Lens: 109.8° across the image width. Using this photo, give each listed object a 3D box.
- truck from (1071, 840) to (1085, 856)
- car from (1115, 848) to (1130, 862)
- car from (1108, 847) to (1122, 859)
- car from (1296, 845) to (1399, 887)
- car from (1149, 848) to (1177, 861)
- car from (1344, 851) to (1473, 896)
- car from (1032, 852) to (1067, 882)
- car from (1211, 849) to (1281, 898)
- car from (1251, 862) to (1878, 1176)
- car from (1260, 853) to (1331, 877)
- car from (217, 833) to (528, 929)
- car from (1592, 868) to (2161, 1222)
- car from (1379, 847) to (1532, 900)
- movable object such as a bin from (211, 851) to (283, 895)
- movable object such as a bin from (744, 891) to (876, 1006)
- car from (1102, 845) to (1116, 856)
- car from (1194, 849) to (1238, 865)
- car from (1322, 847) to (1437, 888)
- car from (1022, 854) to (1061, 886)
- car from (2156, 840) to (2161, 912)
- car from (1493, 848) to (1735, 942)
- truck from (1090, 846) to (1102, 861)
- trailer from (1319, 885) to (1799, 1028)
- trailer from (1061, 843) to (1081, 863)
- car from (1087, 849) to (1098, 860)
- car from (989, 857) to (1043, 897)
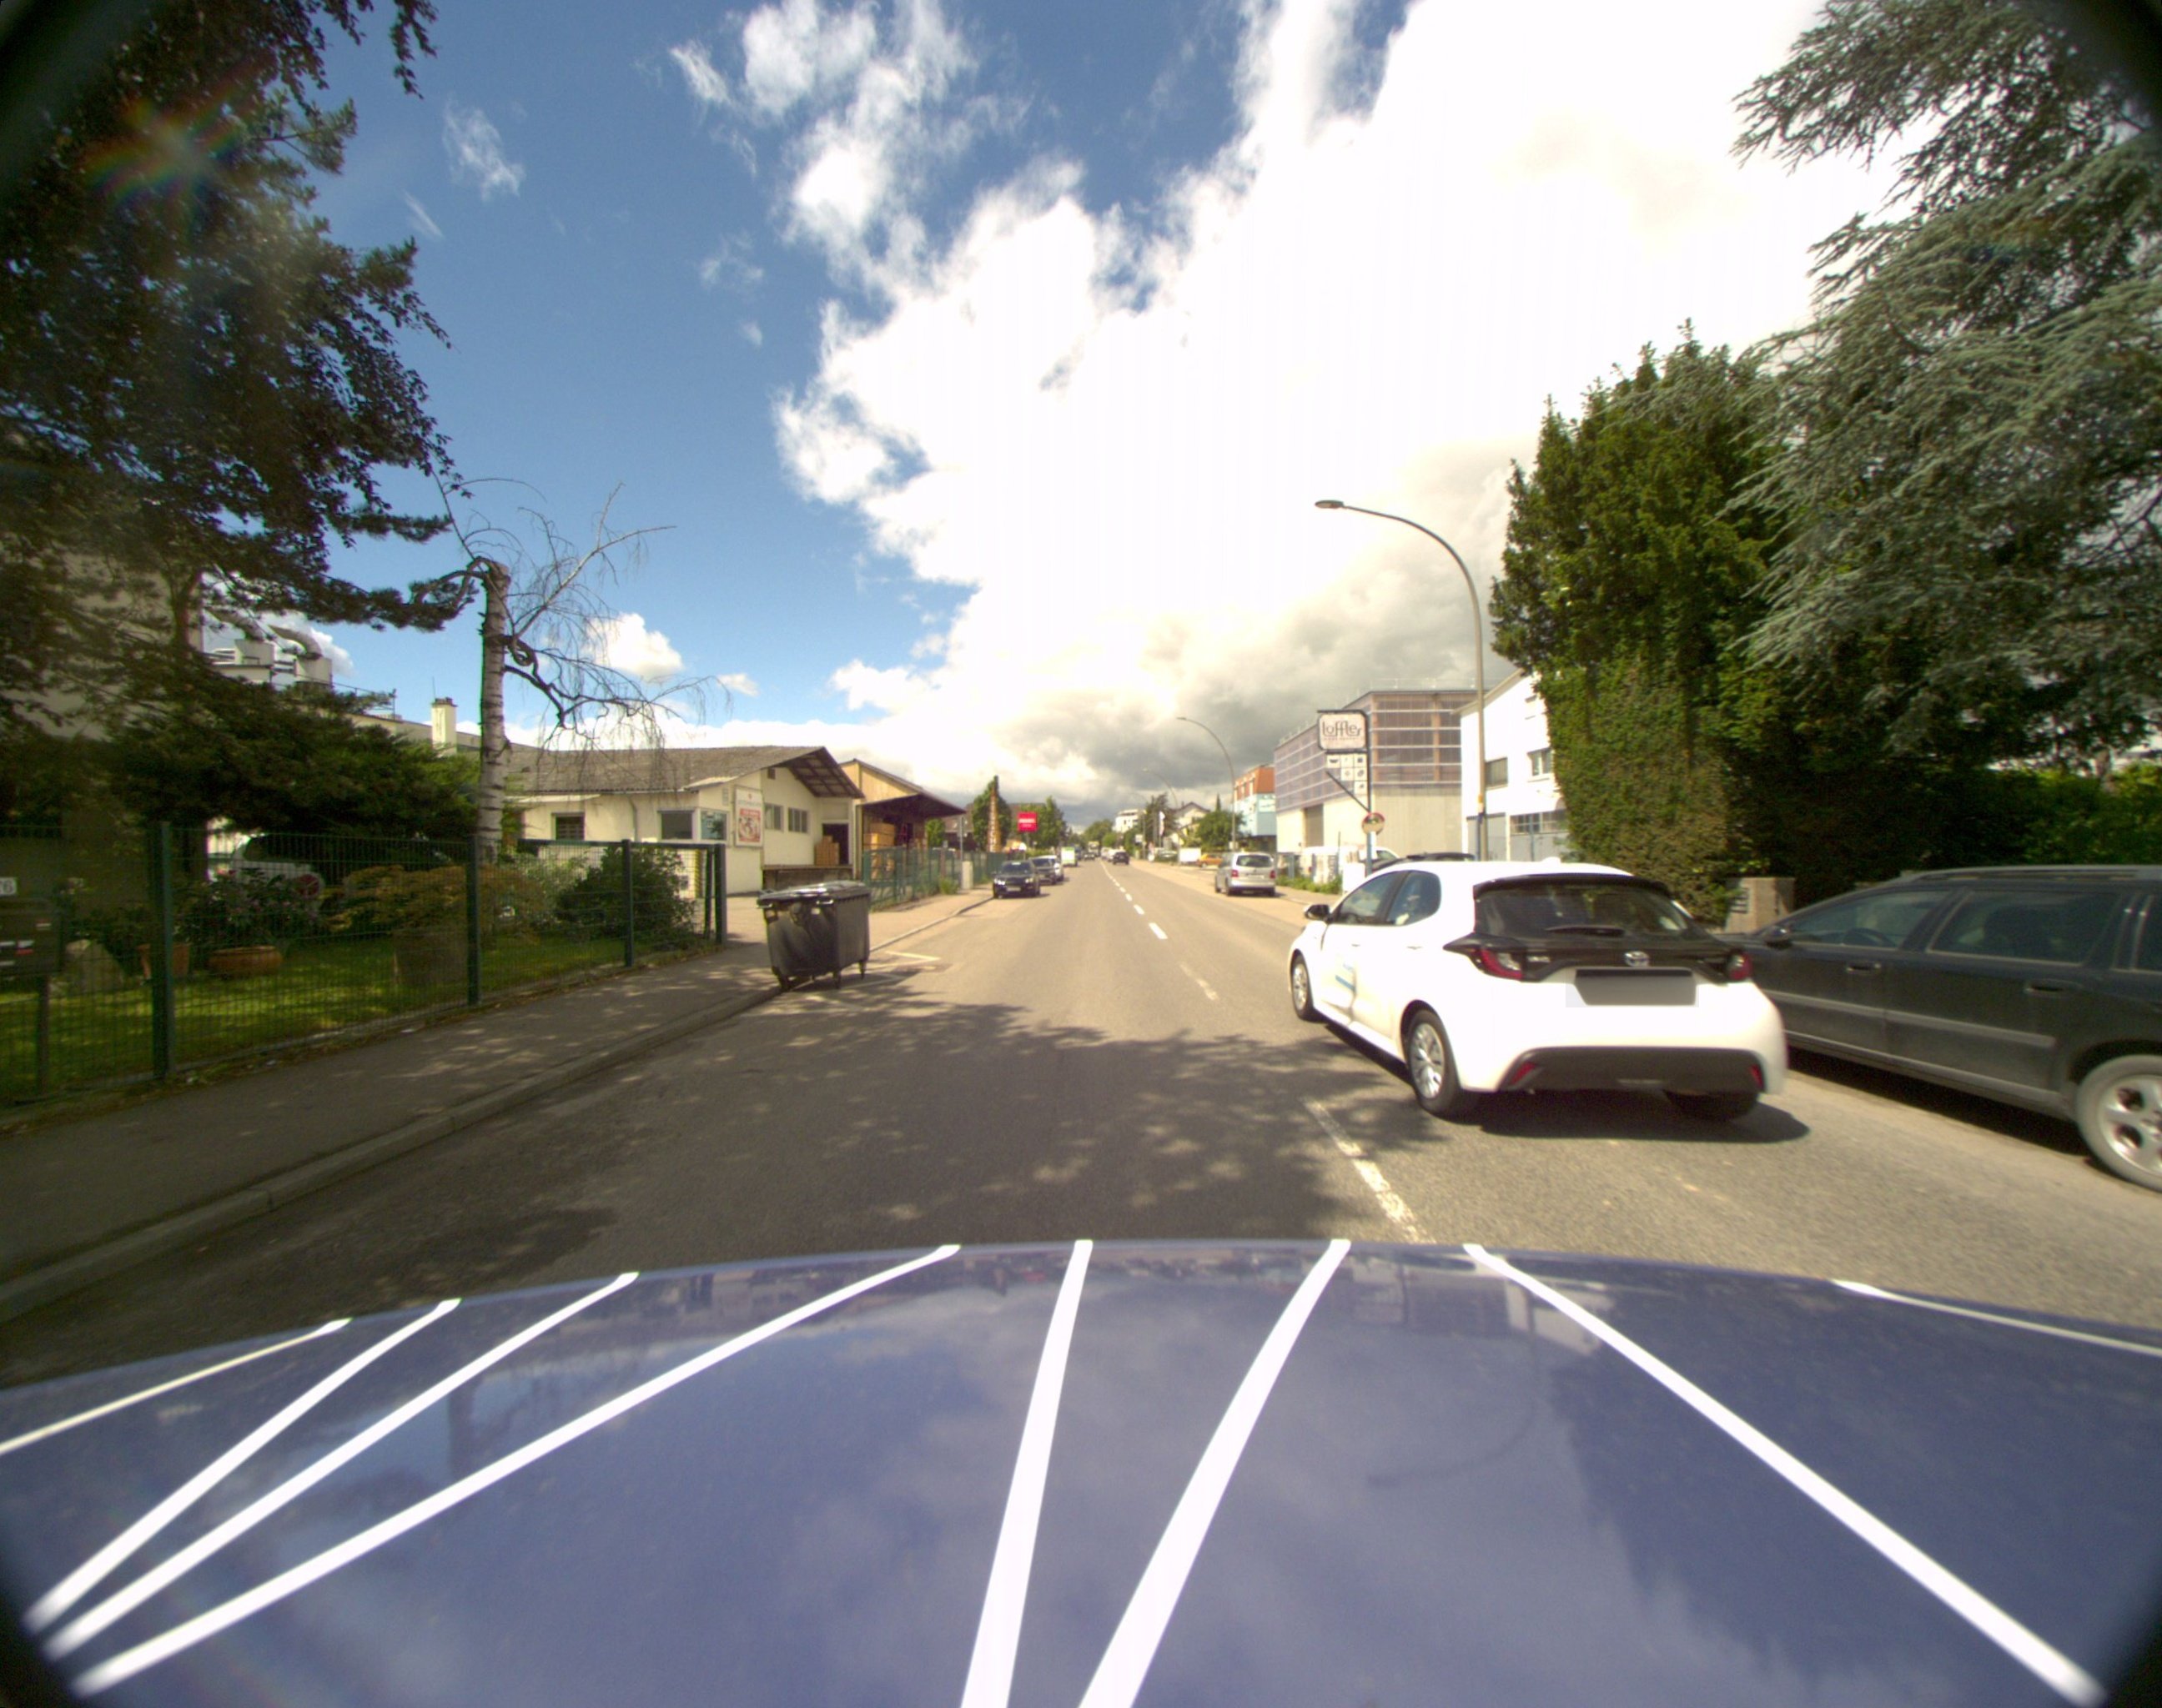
[{"bbox_3d":[-0.520,-1.128,140.522,2.410,2.722,6.640,-3,1,1],"label":"truck"},{"bbox_3d":[5.288,0.083,97.007,1.859,1.686,4.001,-1,0,4],"label":"car"},{"bbox_3d":[5.243,-0.153,117.165,1.999,1.853,3.835,0,0,-1],"label":"car"},{"bbox_3d":[11.977,0.527,34.352,3.996,1.866,2.000,0,1,1],"label":"car"},{"bbox_3d":[12.016,0.068,111.531,3.995,2.002,2.001,0,1,6],"label":"car"},{"bbox_3d":[12.352,0.716,28.860,3.998,1.660,2.103,0,1,-2],"label":"car"},{"bbox_3d":[-1.910,0.767,47.195,1.835,1.608,4.000,-3,0,2],"label":"car"},{"bbox_3d":[6.184,0.673,28.886,1.809,1.666,4.127,1,0,1],"label":"car"},{"bbox_3d":[2.729,0.794,5.577,1.987,1.412,3.999,0,0,-1],"label":"car"},{"bbox_3d":[13.345,0.681,47.450,3.955,1.492,1.777,0,0,-1],"label":"car"},{"bbox_3d":[-14.838,0.526,16.089,4.921,1.876,2.001,0,0,4],"label":"car"},{"bbox_3d":[5.725,0.911,4.627,1.998,1.445,4.812,3,0,1],"label":"car"},{"bbox_3d":[12.501,0.622,25.553,4.169,1.660,1.999,-1,1,-2],"label":"car"},{"bbox_3d":[-26.751,0.602,24.397,1.122,1.340,1.060,1,1,-2],"label":"movable object such as a bin"},{"bbox_3d":[-3.408,1.155,9.719,1.115,1.283,1.357,0,1,5],"label":"movable object such as a bin"},{"bbox_3d":[5.340,-0.669,145.412,2.384,2.002,6.384,0,0,0],"label":"car"},{"bbox_3d":[13.379,0.297,75.254,4.046,1.485,1.675,0,1,0],"label":"car"},{"bbox_3d":[12.352,0.547,31.633,3.997,1.660,2.000,0,1,0],"label":"car"},{"bbox_3d":[-2.143,0.837,42.407,1.811,1.566,4.188,-3,0,1],"label":"car"},{"bbox_3d":[32.419,0.617,20.560,4.135,2.014,1.999,0,1,-5],"label":"car"},{"bbox_3d":[10.685,0.724,15.761,1.812,1.625,4.632,1,0,1],"label":"car"},{"bbox_3d":[3.689,-0.199,187.573,2.880,3.290,8.607,-3,1,1],"label":"truck"},{"bbox_3d":[5.701,1.124,10.946,2.324,0.985,7.459,1,0,1],"label":"trailer"},{"bbox_3d":[-1.139,-0.106,88.908,2.044,2.214,5.079,0,0,2],"label":"trailer"},{"bbox_3d":[2.113,0.092,137.679,1.998,1.802,4.000,-1,0,1],"label":"car"},{"bbox_3d":[-2.534,0.871,30.571,1.759,1.455,4.000,-2,0,1],"label":"car"}]
